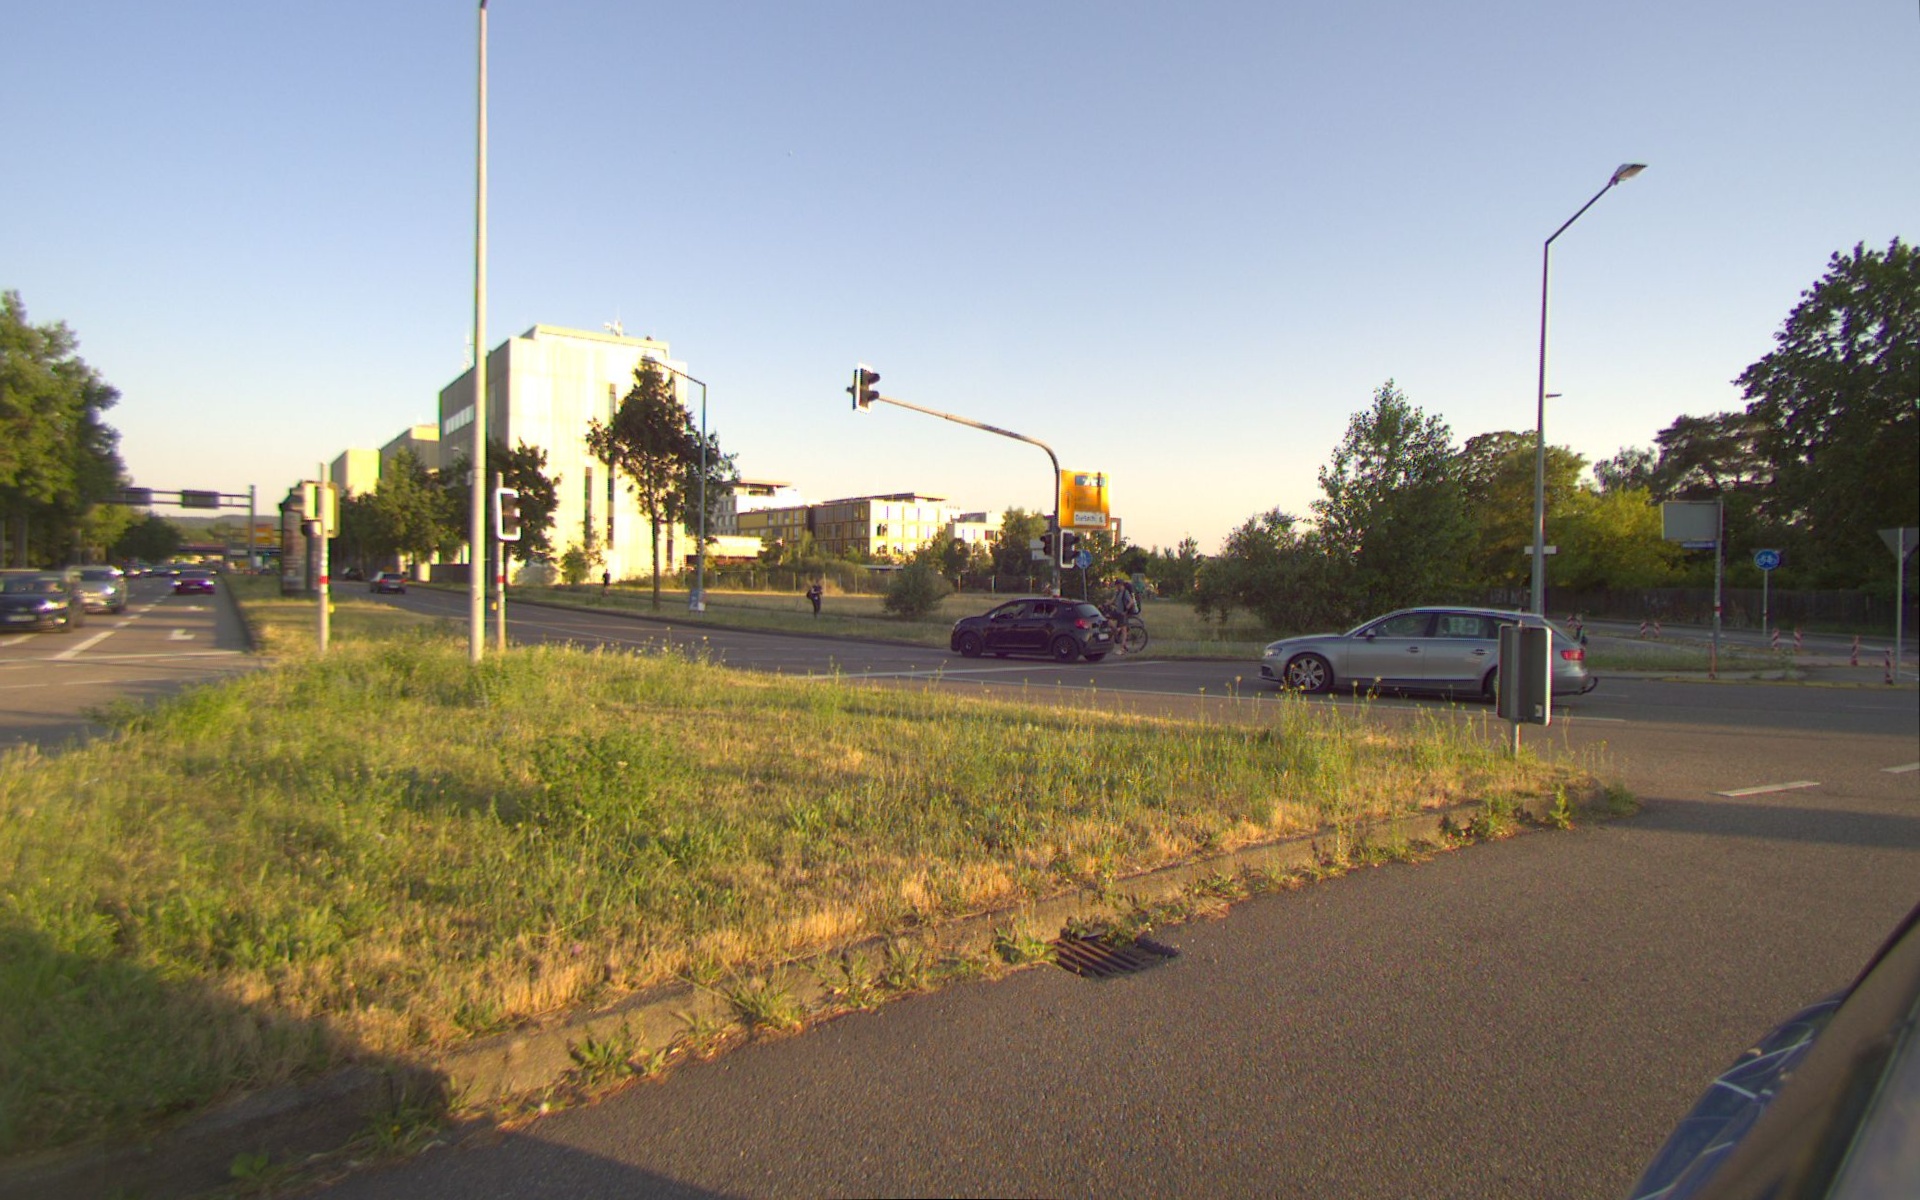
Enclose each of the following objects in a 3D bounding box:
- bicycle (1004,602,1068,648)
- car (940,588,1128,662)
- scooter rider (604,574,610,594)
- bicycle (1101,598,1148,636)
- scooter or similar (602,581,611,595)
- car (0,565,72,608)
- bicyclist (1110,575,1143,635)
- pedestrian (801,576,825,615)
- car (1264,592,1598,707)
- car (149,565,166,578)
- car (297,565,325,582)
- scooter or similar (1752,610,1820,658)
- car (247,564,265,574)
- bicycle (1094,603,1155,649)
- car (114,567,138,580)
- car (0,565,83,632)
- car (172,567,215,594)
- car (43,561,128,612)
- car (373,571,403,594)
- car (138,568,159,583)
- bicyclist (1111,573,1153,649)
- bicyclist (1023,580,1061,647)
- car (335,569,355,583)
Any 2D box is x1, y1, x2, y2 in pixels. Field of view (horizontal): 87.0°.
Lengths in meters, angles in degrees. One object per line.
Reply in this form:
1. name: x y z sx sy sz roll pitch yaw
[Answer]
1. bicycle: 2.016 0.648 26.732 1.895 1.098 0.456 -3 3 -40
2. car: 1.695 0.512 23.524 3.967 1.482 1.784 2 1 30
3. scooter rider: -23.723 -1.086 67.991 0.260 1.356 0.406 1 1 -37
4. bicycle: 4.922 0.502 30.365 1.359 1.102 0.277 2 1 28
5. scooter or similar: -23.743 -0.828 68.019 0.242 0.925 1.039 1 1 -37
6. car: -38.904 -0.573 42.500 1.877 1.731 4.941 1 0 -35
7. bicyclist: 4.992 0.144 30.311 0.836 1.765 0.532 1 0 28
8. pedestrian: -5.974 -0.174 41.037 0.782 1.569 0.567 0 1 -37
9. car: 7.120 0.656 15.602 4.408 1.440 1.786 2 1 28
10. car: -100.067 -3.522 126.216 1.589 1.537 3.715 -1 2 -36
11. car: -63.783 -2.611 99.419 1.786 1.544 4.131 1 1 -39
12. scooter or similar: 20.855 0.853 25.561 1.356 1.177 0.443 1 1 -2
13. car: -111.063 -4.967 159.629 1.964 1.489 3.997 1 1 -39
14. bicycle: 4.274 0.653 26.190 1.894 1.098 0.456 -2 2 -40
15. car: -81.698 -2.594 99.118 1.589 1.325 3.715 -1 2 -36
16. car: -24.663 -0.081 26.879 1.770 1.653 4.453 -1 1 -37
17. car: -44.253 -1.117 58.510 1.810 1.479 4.581 1 0 -35
18. car: -32.224 -0.527 37.415 1.886 1.776 4.921 -1 1 -35
19. car: -38.780 -1.189 68.621 1.716 1.442 4.140 1 1 -30
20. car: -89.630 -2.707 111.822 1.589 1.537 3.715 -1 2 -36
21. bicyclist: 4.437 0.260 26.144 0.894 1.921 0.640 -2 2 -40
22. bicyclist: 2.182 0.340 26.867 0.757 1.722 0.640 -3 3 -40
23. car: -70.843 -2.764 116.593 1.718 1.507 4.135 1 1 -35
